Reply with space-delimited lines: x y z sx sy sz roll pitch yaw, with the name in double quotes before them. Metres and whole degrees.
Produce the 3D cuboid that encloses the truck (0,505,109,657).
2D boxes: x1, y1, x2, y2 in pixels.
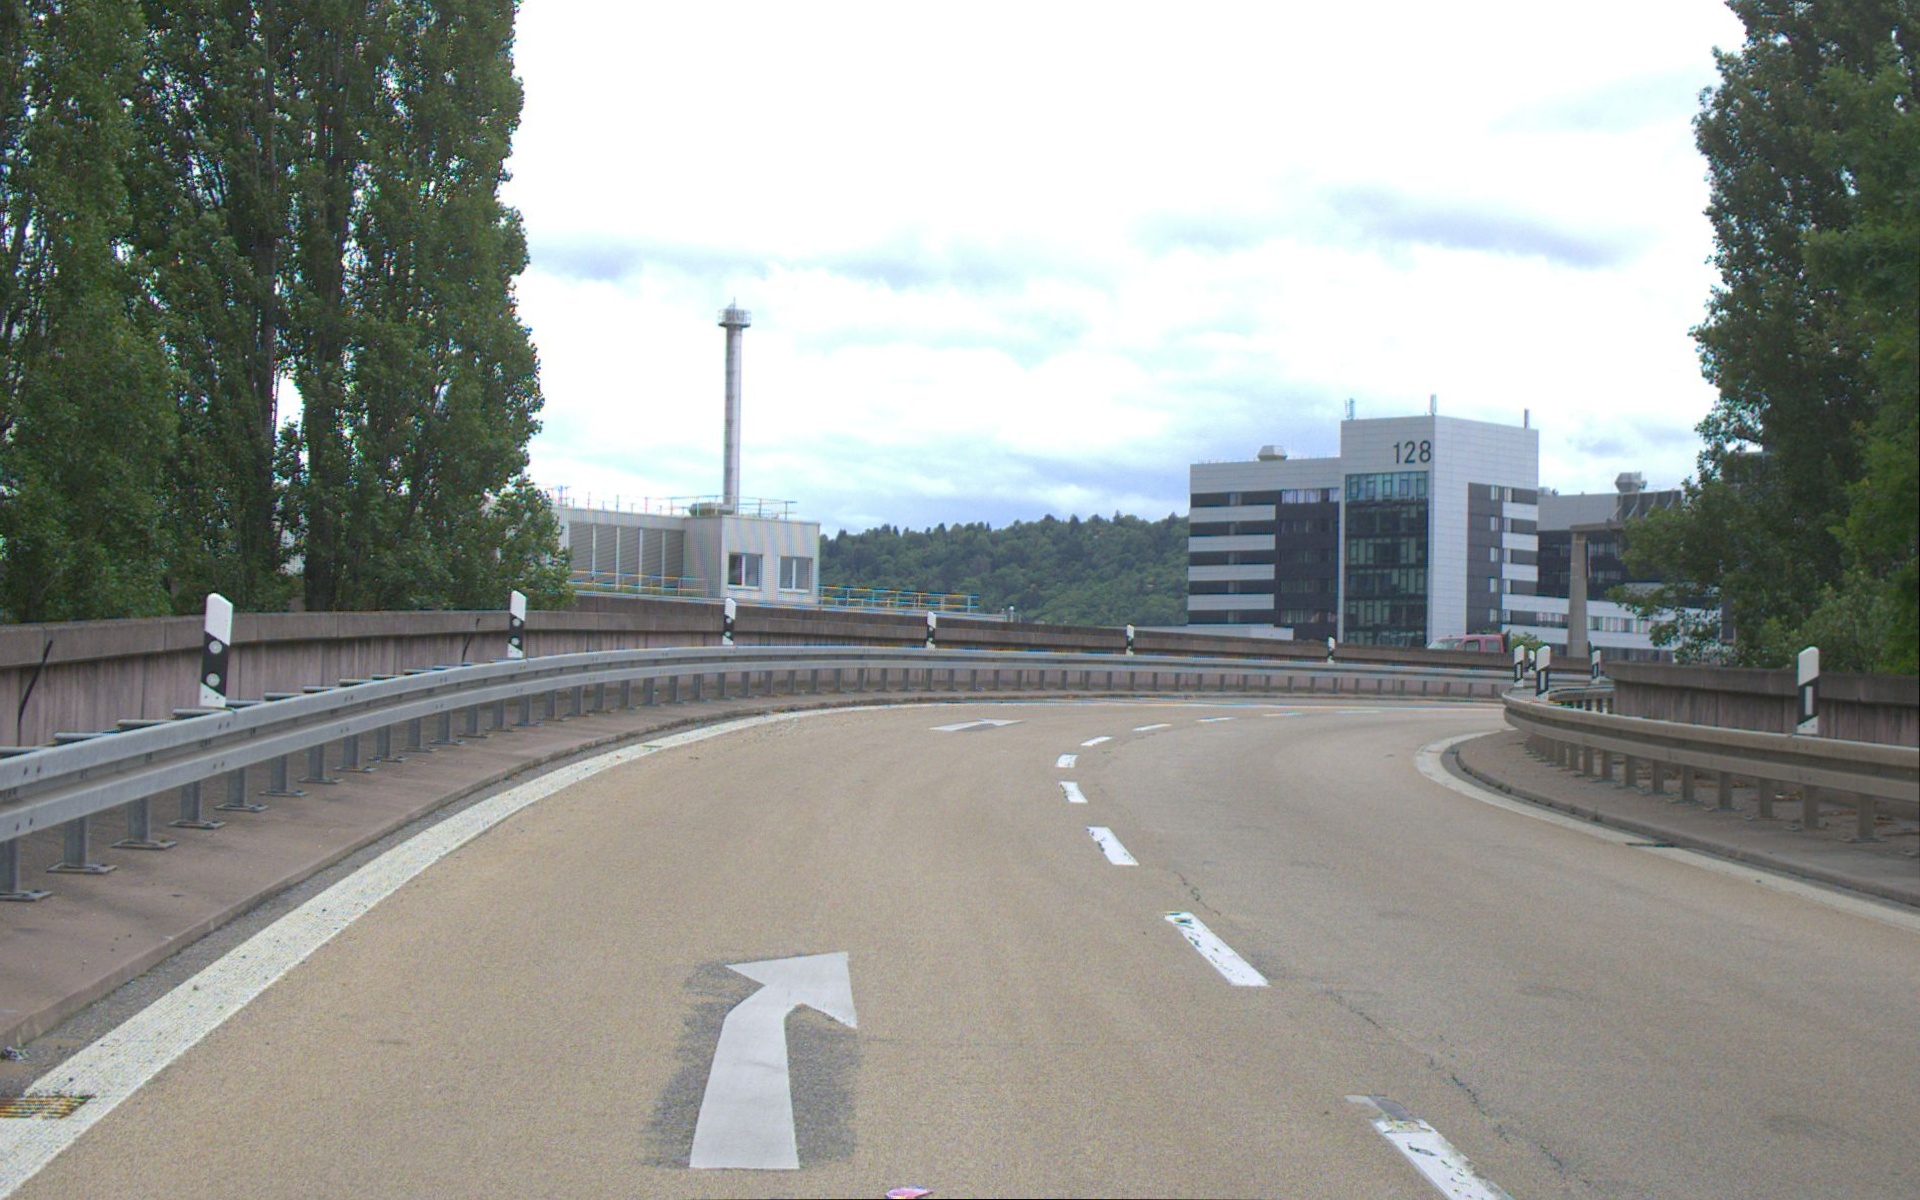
"truck" -23.340 -0.506 80.592 5.944 3.419 2.778 3 -2 -29
